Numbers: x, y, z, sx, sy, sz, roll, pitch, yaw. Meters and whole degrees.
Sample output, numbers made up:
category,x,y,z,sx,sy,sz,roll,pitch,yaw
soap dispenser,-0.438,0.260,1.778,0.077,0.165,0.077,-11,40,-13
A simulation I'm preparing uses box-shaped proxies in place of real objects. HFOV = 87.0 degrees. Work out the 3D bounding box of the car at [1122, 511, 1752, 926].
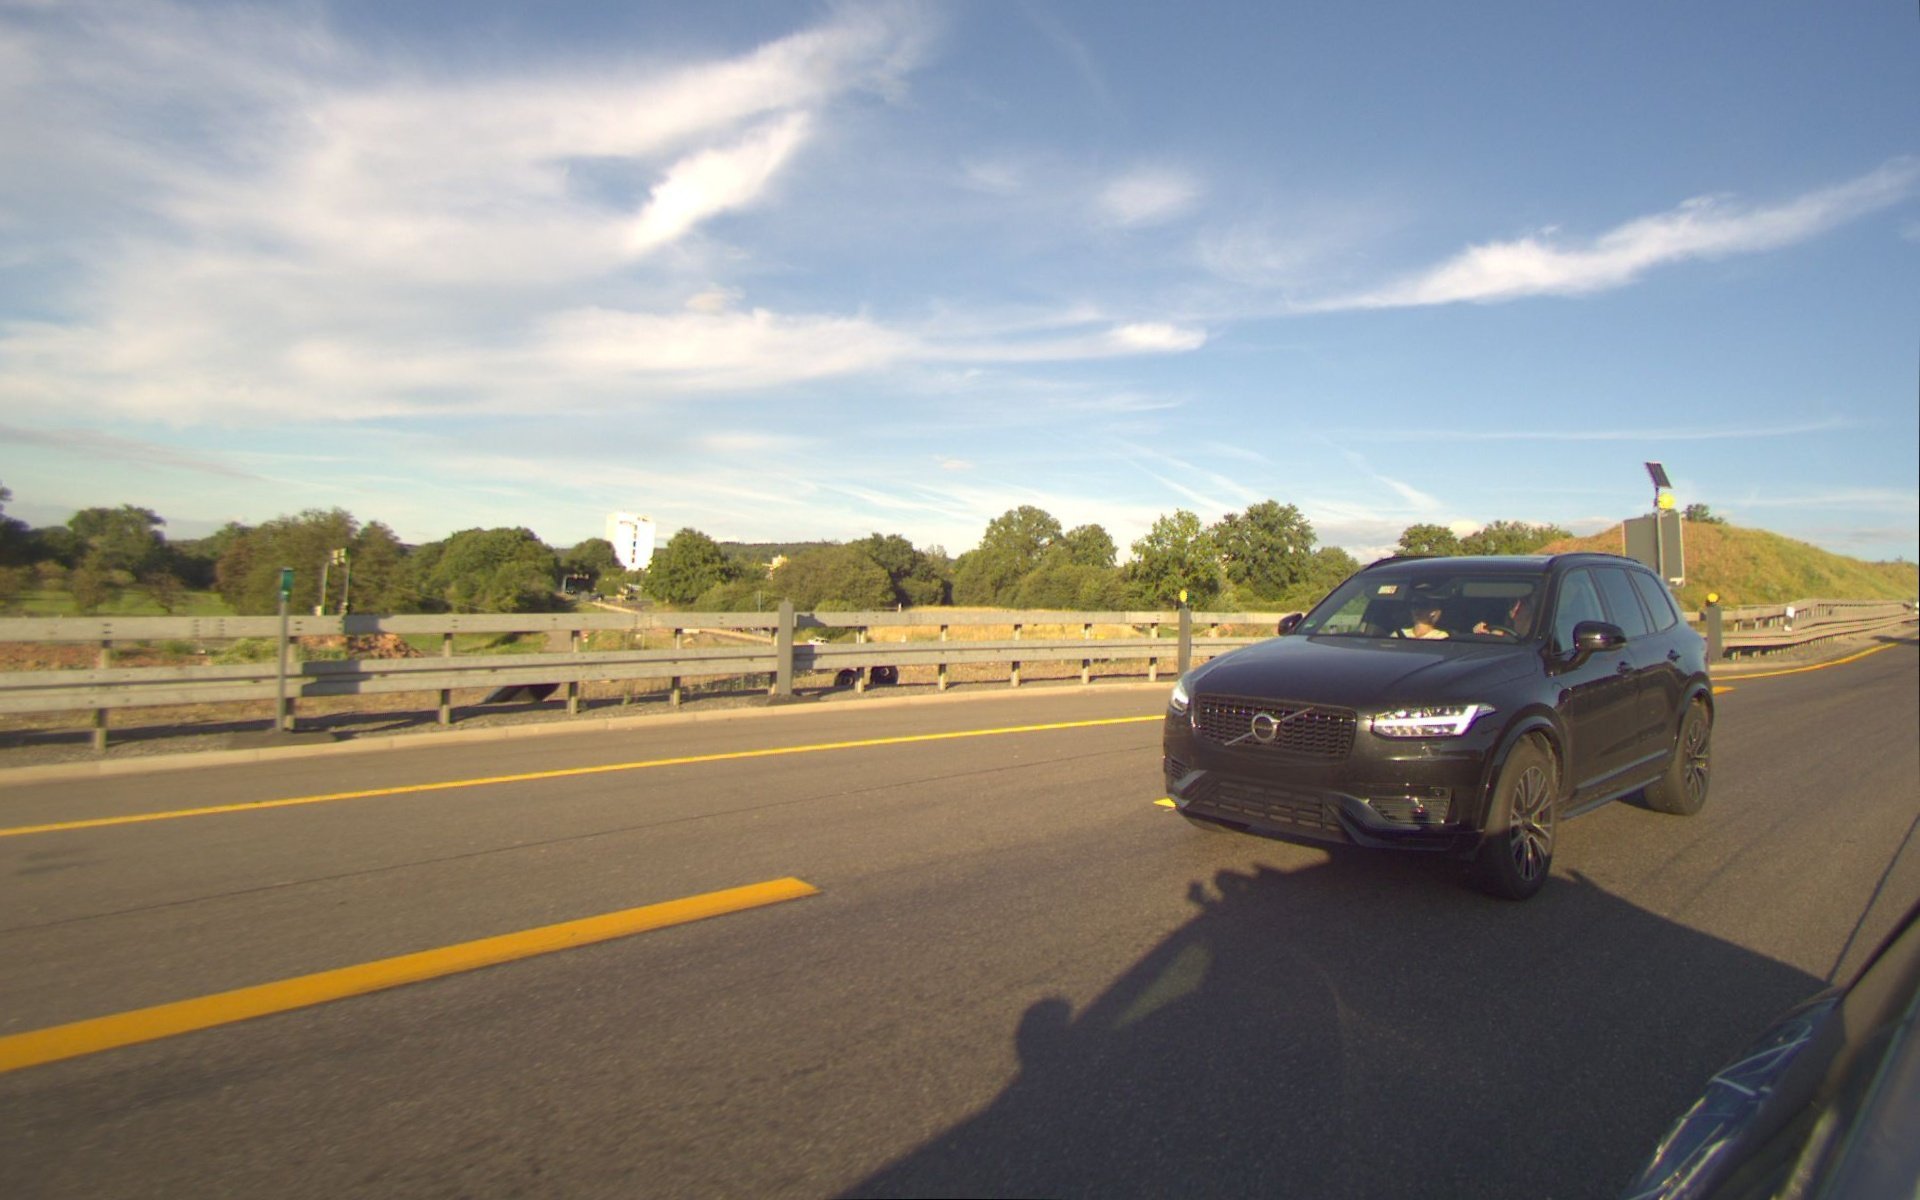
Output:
category,x,y,z,sx,sy,sz,roll,pitch,yaw
car,3.340,0.480,6.528,4.802,1.734,1.901,0,0,-41
